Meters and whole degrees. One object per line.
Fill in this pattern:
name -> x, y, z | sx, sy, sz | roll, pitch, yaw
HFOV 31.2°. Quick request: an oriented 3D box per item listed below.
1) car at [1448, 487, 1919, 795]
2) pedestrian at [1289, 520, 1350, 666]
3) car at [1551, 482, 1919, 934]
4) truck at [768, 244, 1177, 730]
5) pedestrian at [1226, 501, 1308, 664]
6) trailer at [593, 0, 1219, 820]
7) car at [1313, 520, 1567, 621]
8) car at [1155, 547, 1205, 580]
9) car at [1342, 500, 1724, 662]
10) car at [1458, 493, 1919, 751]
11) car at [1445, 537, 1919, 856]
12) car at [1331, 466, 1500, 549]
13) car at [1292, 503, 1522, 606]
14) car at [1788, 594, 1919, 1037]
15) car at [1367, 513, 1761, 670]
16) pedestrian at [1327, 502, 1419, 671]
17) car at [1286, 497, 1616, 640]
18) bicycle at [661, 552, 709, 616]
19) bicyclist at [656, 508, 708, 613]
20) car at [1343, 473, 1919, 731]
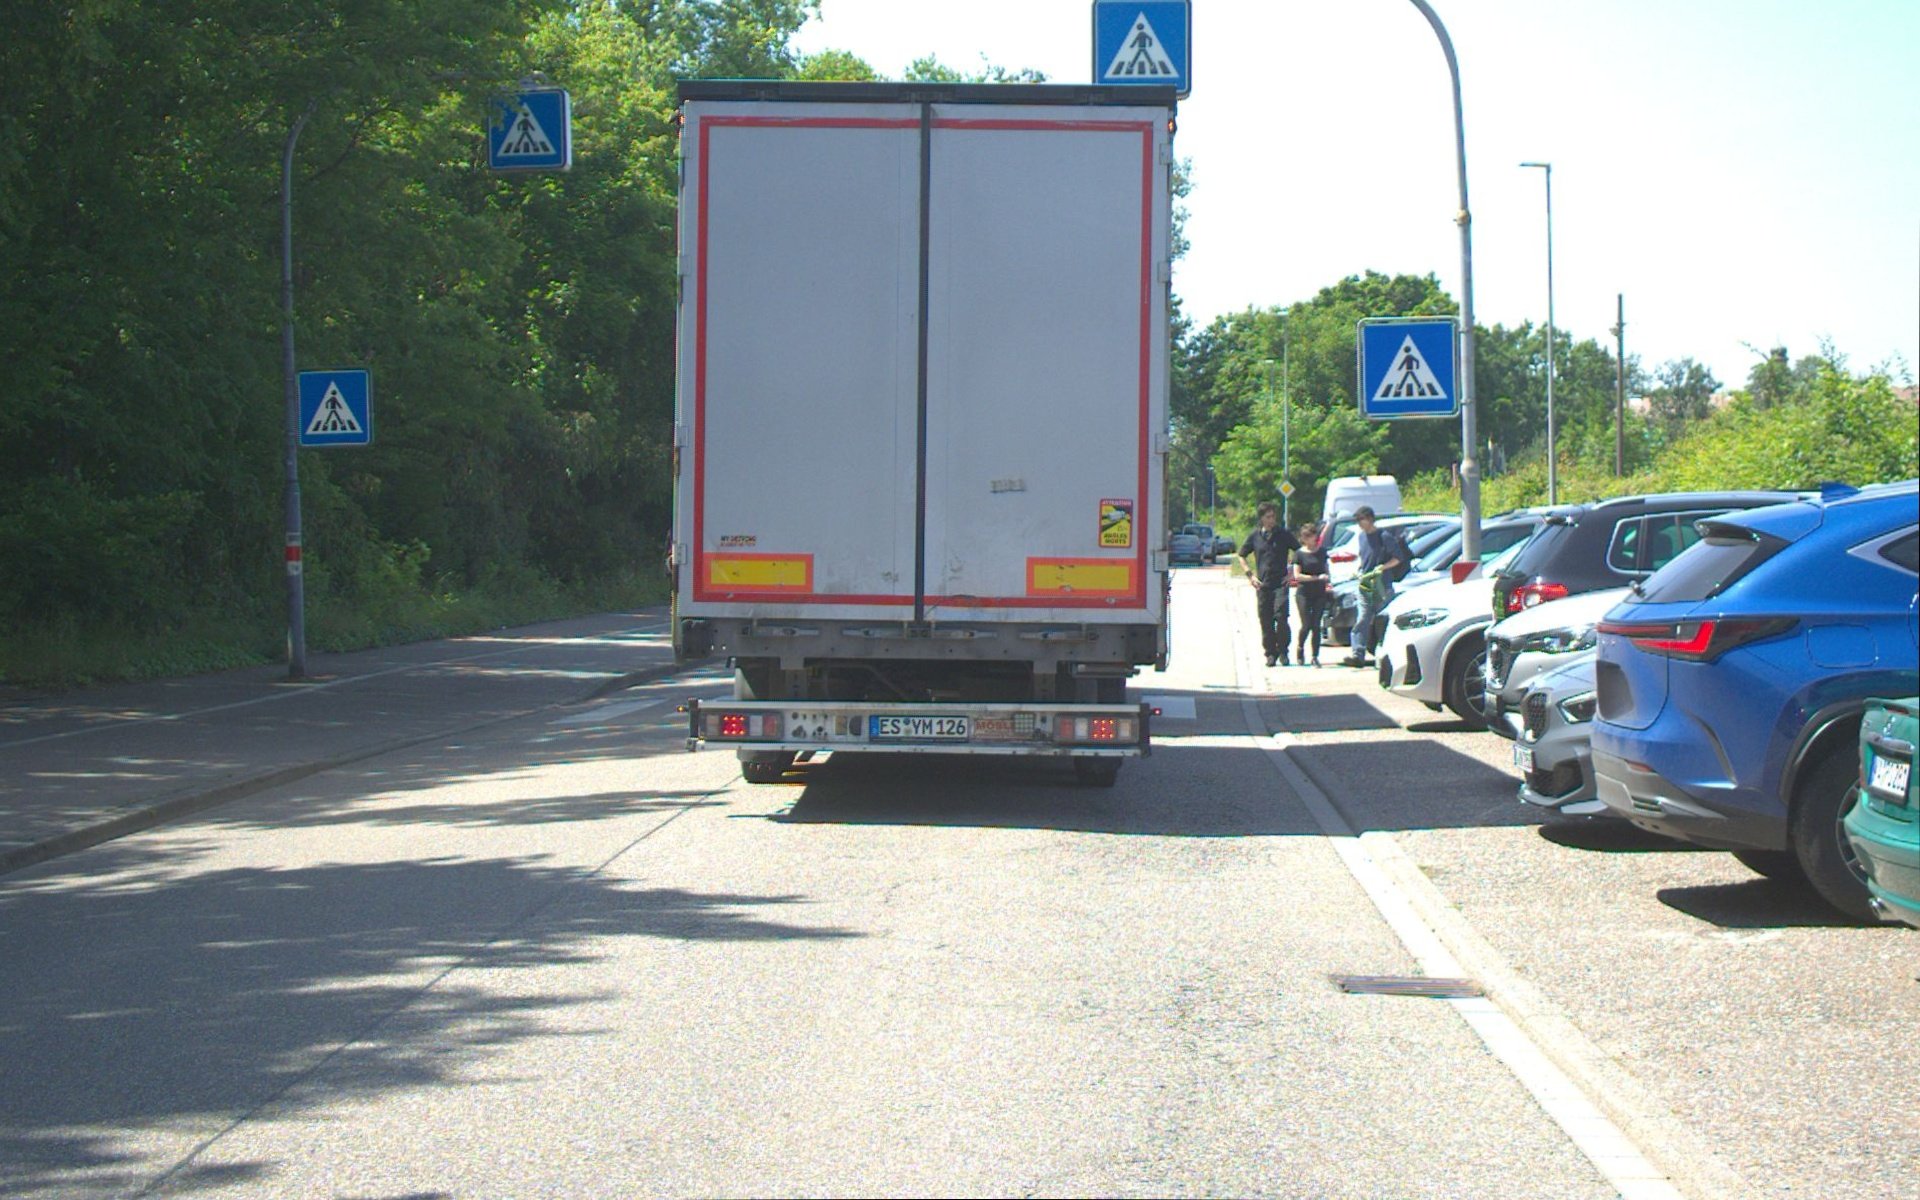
car -> 5.017, 0.210, 19.453 | 4.236, 1.648, 1.900 | 0, 0, 0
pedestrian -> 4.067, -0.085, 38.873 | 0.589, 1.609, 0.744 | -3, 0, 7
car -> 4.612, 0.338, 13.500 | 4.238, 1.628, 1.823 | -2, 1, 1
truck -> 0.216, -0.943, 29.721 | 3.114, 3.712, 6.413 | 1, 1, 2
pedestrian -> 3.547, -0.202, 39.675 | 0.822, 1.828, 0.792 | -3, 0, 7
trailer -> -0.043, -1.082, 23.033 | 3.113, 4.088, 11.536 | 1, 1, 2
car -> 8.012, -0.498, 57.640 | 3.956, 1.613, 1.813 | -1, 1, -1
car -> 10.118, -1.695, 157.737 | 1.781, 1.481, 3.998 | 1, 1, 11
car -> 6.507, -0.214, 39.304 | 3.956, 1.663, 1.814 | -2, 0, -3
car -> 5.582, 0.124, 23.487 | 4.125, 1.651, 1.886 | -1, 1, 3
car -> 4.591, 0.428, 16.584 | 4.129, 1.434, 1.815 | 0, 1, -6
car -> 11.131, -2.256, 84.236 | 3.957, 1.792, 1.813 | -2, -2, 5
car -> 8.241, -0.844, 63.588 | 3.956, 1.759, 1.813 | -2, 1, -1
car -> 4.651, 0.564, 10.730 | 3.735, 1.264, 1.628 | -2, 0, 3
car -> 6.318, -0.089, 36.333 | 3.957, 1.475, 1.813 | -2, 0, 7
pedestrian -> 4.537, -0.153, 37.739 | 0.908, 1.792, 0.935 | -3, 0, 7
car -> 6.437, -0.440, 45.319 | 3.955, 1.662, 1.814 | -2, 3, -5
bicycle -> -4.633, -0.278, 57.947 | 0.454, 1.043, 2.203 | 1, 1, 4
bicyclist -> -4.677, -0.664, 57.915 | 0.717, 1.752, 0.796 | 1, 0, 6
car -> 5.262, 0.000, 26.175 | 4.404, 1.692, 1.877 | -3, 0, 0
